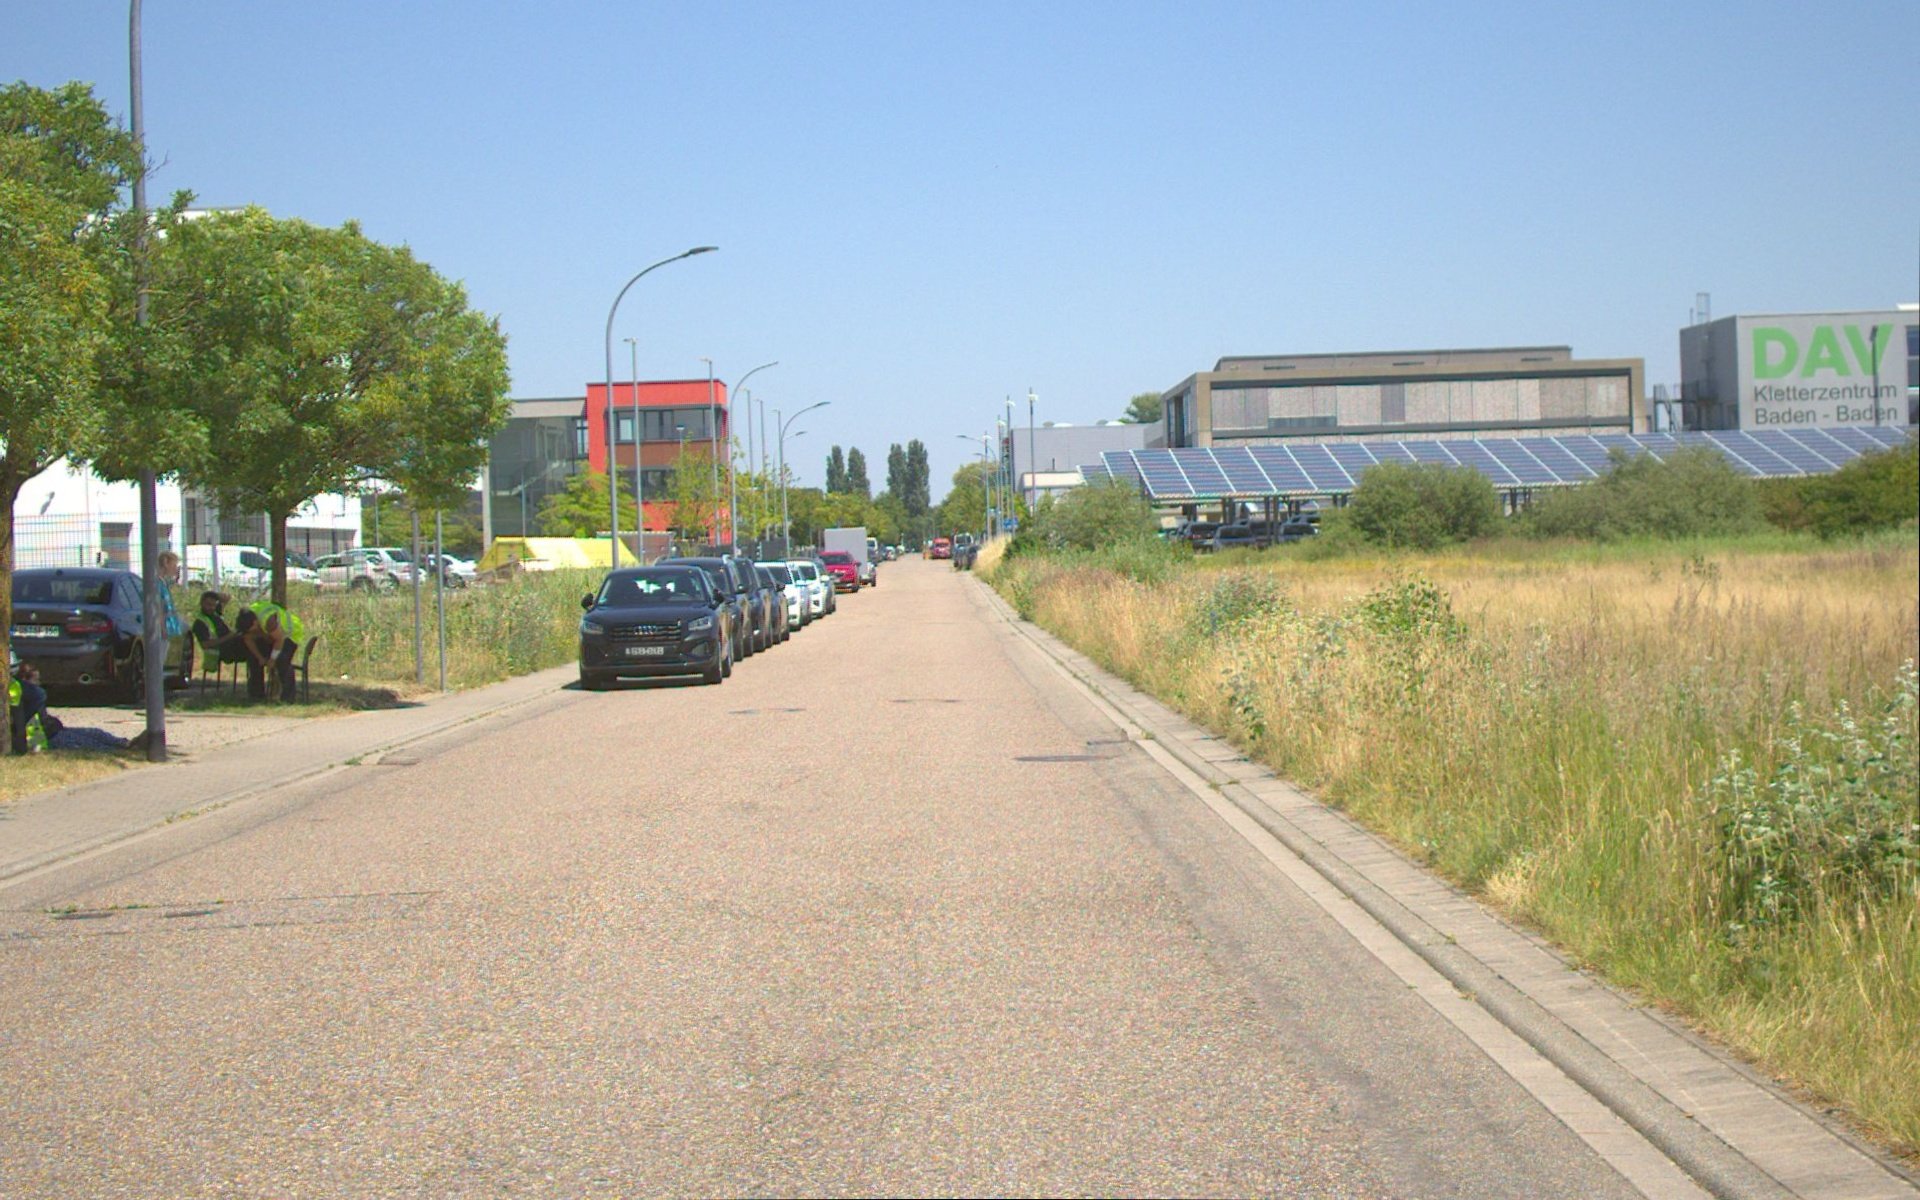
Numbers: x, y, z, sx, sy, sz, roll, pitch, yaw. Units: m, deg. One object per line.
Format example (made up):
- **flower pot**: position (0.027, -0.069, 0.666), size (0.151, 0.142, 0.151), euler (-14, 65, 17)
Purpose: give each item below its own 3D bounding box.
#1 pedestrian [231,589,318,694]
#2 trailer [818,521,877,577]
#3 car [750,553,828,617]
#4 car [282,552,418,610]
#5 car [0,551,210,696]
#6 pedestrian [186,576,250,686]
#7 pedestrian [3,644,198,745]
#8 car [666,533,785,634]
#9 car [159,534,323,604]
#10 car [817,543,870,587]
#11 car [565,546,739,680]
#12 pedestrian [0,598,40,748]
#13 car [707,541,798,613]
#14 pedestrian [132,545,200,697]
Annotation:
- **pedestrian**: position (-7.368, 0.444, 36.969), size (0.750, 1.095, 0.646), euler (1, 1, 4)
- **trailer**: position (-4.528, -2.049, 138.458), size (2.201, 2.130, 4.286), euler (-2, 1, 0)
- **car**: position (-4.370, -0.404, 88.479), size (1.787, 1.515, 3.983), euler (-2, 1, 0)
- **car**: position (-22.190, -0.711, 125.205), size (4.528, 1.936, 2.031), euler (-2, 1, 0)
- **car**: position (-9.751, 0.211, 38.161), size (1.926, 1.459, 4.692), euler (1, 1, -2)
- **pedestrian**: position (-8.197, 0.340, 38.004), size (0.506, 1.187, 0.753), euler (1, 1, 2)
- **pedestrian**: position (-6.932, 0.758, 27.770), size (1.358, 0.746, 0.753), euler (1, 1, 2)
- **car**: position (-4.099, -0.325, 60.662), size (1.768, 1.657, 4.552), euler (-2, 1, 0)
- **car**: position (-21.971, -0.960, 105.137), size (4.528, 1.936, 2.031), euler (-2, 1, 0)
- **car**: position (-4.276, -1.295, 126.865), size (1.787, 1.515, 3.983), euler (-2, 1, 0)
- **car**: position (-3.927, 0.127, 44.422), size (1.926, 1.562, 4.190), euler (-2, 1, -2)
- **pedestrian**: position (-7.481, 0.557, 26.584), size (0.479, 1.146, 0.555), euler (1, -2, 10)
- **car**: position (-4.636, -0.531, 77.189), size (1.787, 1.515, 3.983), euler (-2, 1, 0)
- **pedestrian**: position (-8.442, 0.213, 36.563), size (0.506, 1.590, 0.753), euler (1, 1, 2)
